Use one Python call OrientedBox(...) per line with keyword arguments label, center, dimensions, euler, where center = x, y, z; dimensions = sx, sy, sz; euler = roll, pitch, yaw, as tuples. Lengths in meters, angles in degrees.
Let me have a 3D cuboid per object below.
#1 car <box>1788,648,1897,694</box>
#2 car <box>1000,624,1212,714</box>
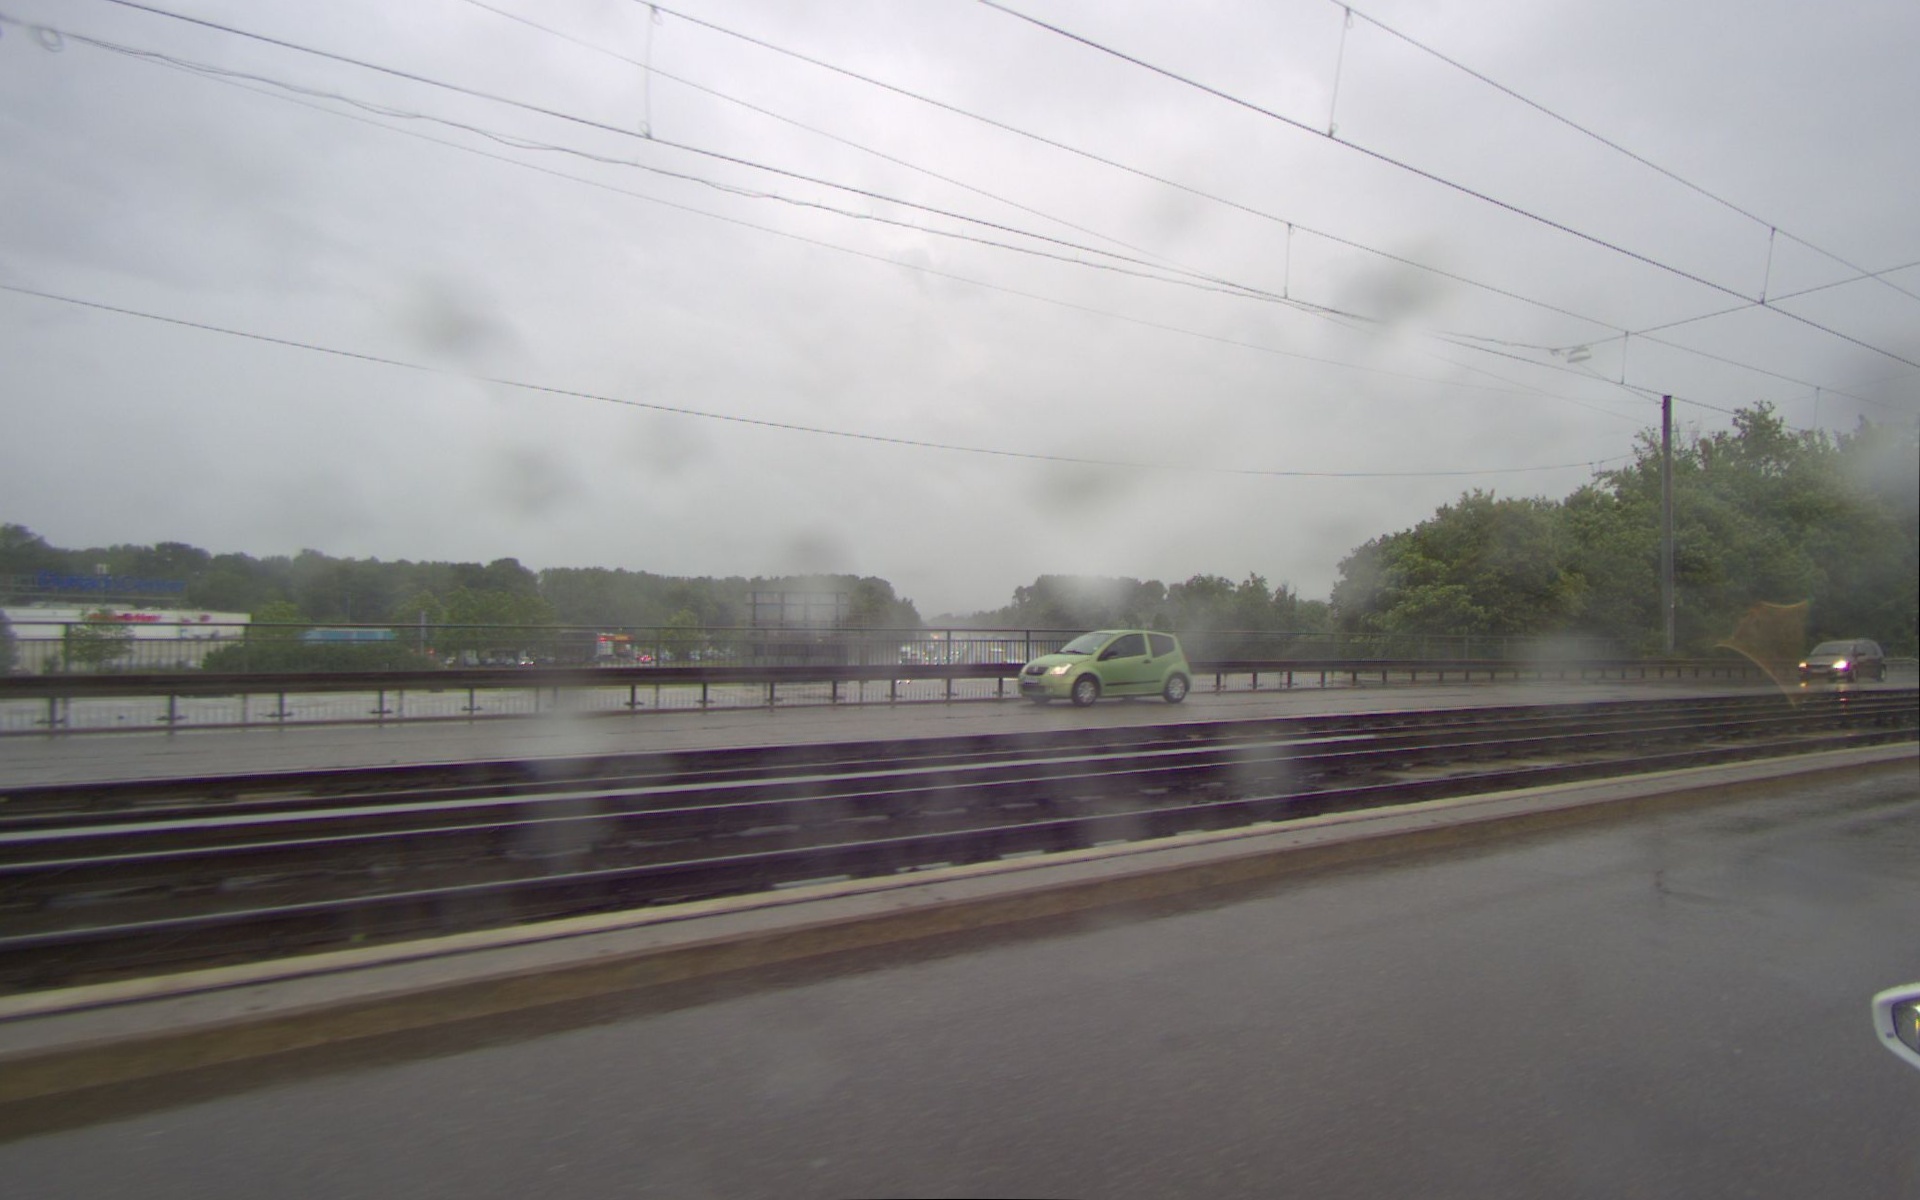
OrientedBox(label="car", center=(33.406, 2.647, 37.993), dimensions=(4.334, 1.595, 1.832), euler=(2, -1, -30))
OrientedBox(label="car", center=(2.958, 1.332, 20.194), dimensions=(3.953, 1.615, 1.837), euler=(2, -1, -30))
